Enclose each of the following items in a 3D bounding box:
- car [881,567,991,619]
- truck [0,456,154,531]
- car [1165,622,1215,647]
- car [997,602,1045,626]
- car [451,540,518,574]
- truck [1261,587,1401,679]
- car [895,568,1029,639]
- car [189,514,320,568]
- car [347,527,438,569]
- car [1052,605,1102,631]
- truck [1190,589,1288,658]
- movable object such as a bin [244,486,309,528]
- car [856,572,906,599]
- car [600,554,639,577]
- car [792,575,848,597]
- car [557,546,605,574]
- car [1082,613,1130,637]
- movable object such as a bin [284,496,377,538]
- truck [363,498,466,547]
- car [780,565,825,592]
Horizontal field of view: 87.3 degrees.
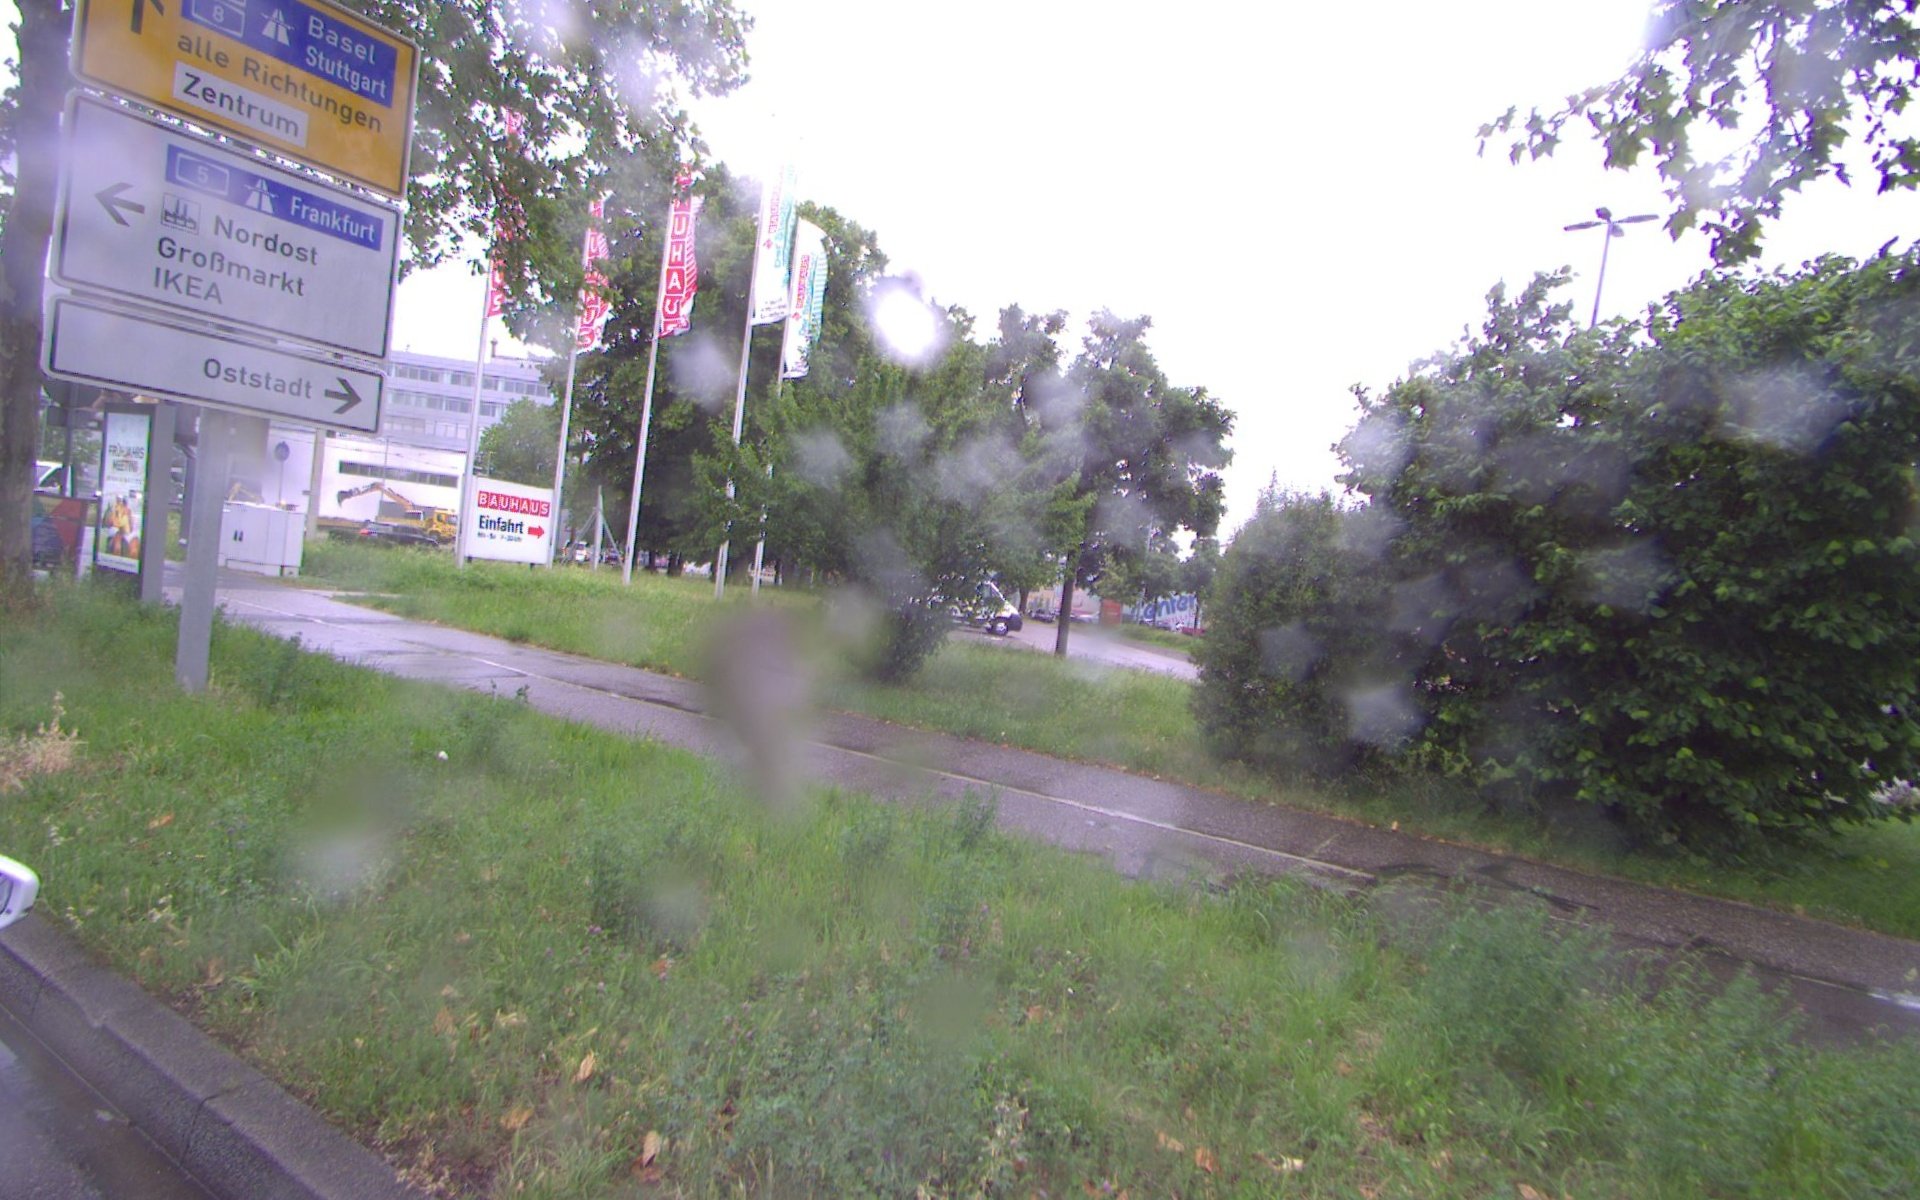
[{"bbox_3d":[-1.389,-0.407,57.642,5.955,2.232,2.190,7,1,-2],"label":"car"},{"bbox_3d":[-38.061,-4.480,42.653,2.438,2.394,6.861,7,0,-4],"label":"truck"},{"bbox_3d":[24.069,3.607,105.388,4.612,2.038,2.001,7,0,3],"label":"car"},{"bbox_3d":[6.350,1.456,105.500,4.616,2.039,1.998,7,1,-4],"label":"car"},{"bbox_3d":[-28.024,-2.506,59.496,1.892,1.606,4.623,6,0,-4],"label":"car"},{"bbox_3d":[16.730,1.341,46.065,2.508,3.513,8.008,8,0,-4],"label":"truck"},{"bbox_3d":[0.031,0.127,40.917,5.015,2.232,2.188,7,1,-9],"label":"car"},{"bbox_3d":[-27.276,-2.241,39.088,1.892,1.606,4.623,6,0,-3],"label":"car"},{"bbox_3d":[-27.207,-2.449,48.419,1.893,1.606,4.622,6,0,-4],"label":"car"},{"bbox_3d":[11.816,1.840,101.771,4.612,2.038,2.001,7,0,3],"label":"car"},{"bbox_3d":[16.521,1.333,60.360,2.507,3.511,9.397,8,0,-2],"label":"truck"},{"bbox_3d":[-60.098,-8.177,88.576,3.271,3.034,3.324,6,1,-4],"label":"movable object such as a bin"},{"bbox_3d":[-7.858,-1.443,100.590,4.670,2.241,1.964,6,1,-2],"label":"car"},{"bbox_3d":[-29.609,-2.953,87.575,1.892,1.606,4.623,6,0,-4],"label":"car"},{"bbox_3d":[-15.418,-1.581,111.066,5.853,1.754,2.276,6,1,-3],"label":"car"},{"bbox_3d":[-27.679,-2.903,73.663,1.892,1.606,4.623,6,0,-4],"label":"car"},{"bbox_3d":[15.550,2.676,107.363,4.612,2.038,2.001,7,0,3],"label":"car"},{"bbox_3d":[-60.590,-7.920,97.005,6.601,3.034,3.324,7,1,-4],"label":"movable object such as a bin"},{"bbox_3d":[-52.676,-7.435,97.329,7.747,3.552,3.325,7,1,-4],"label":"truck"},{"bbox_3d":[-15.997,-2.175,102.089,4.219,2.075,1.758,8,0,-15],"label":"car"}]
